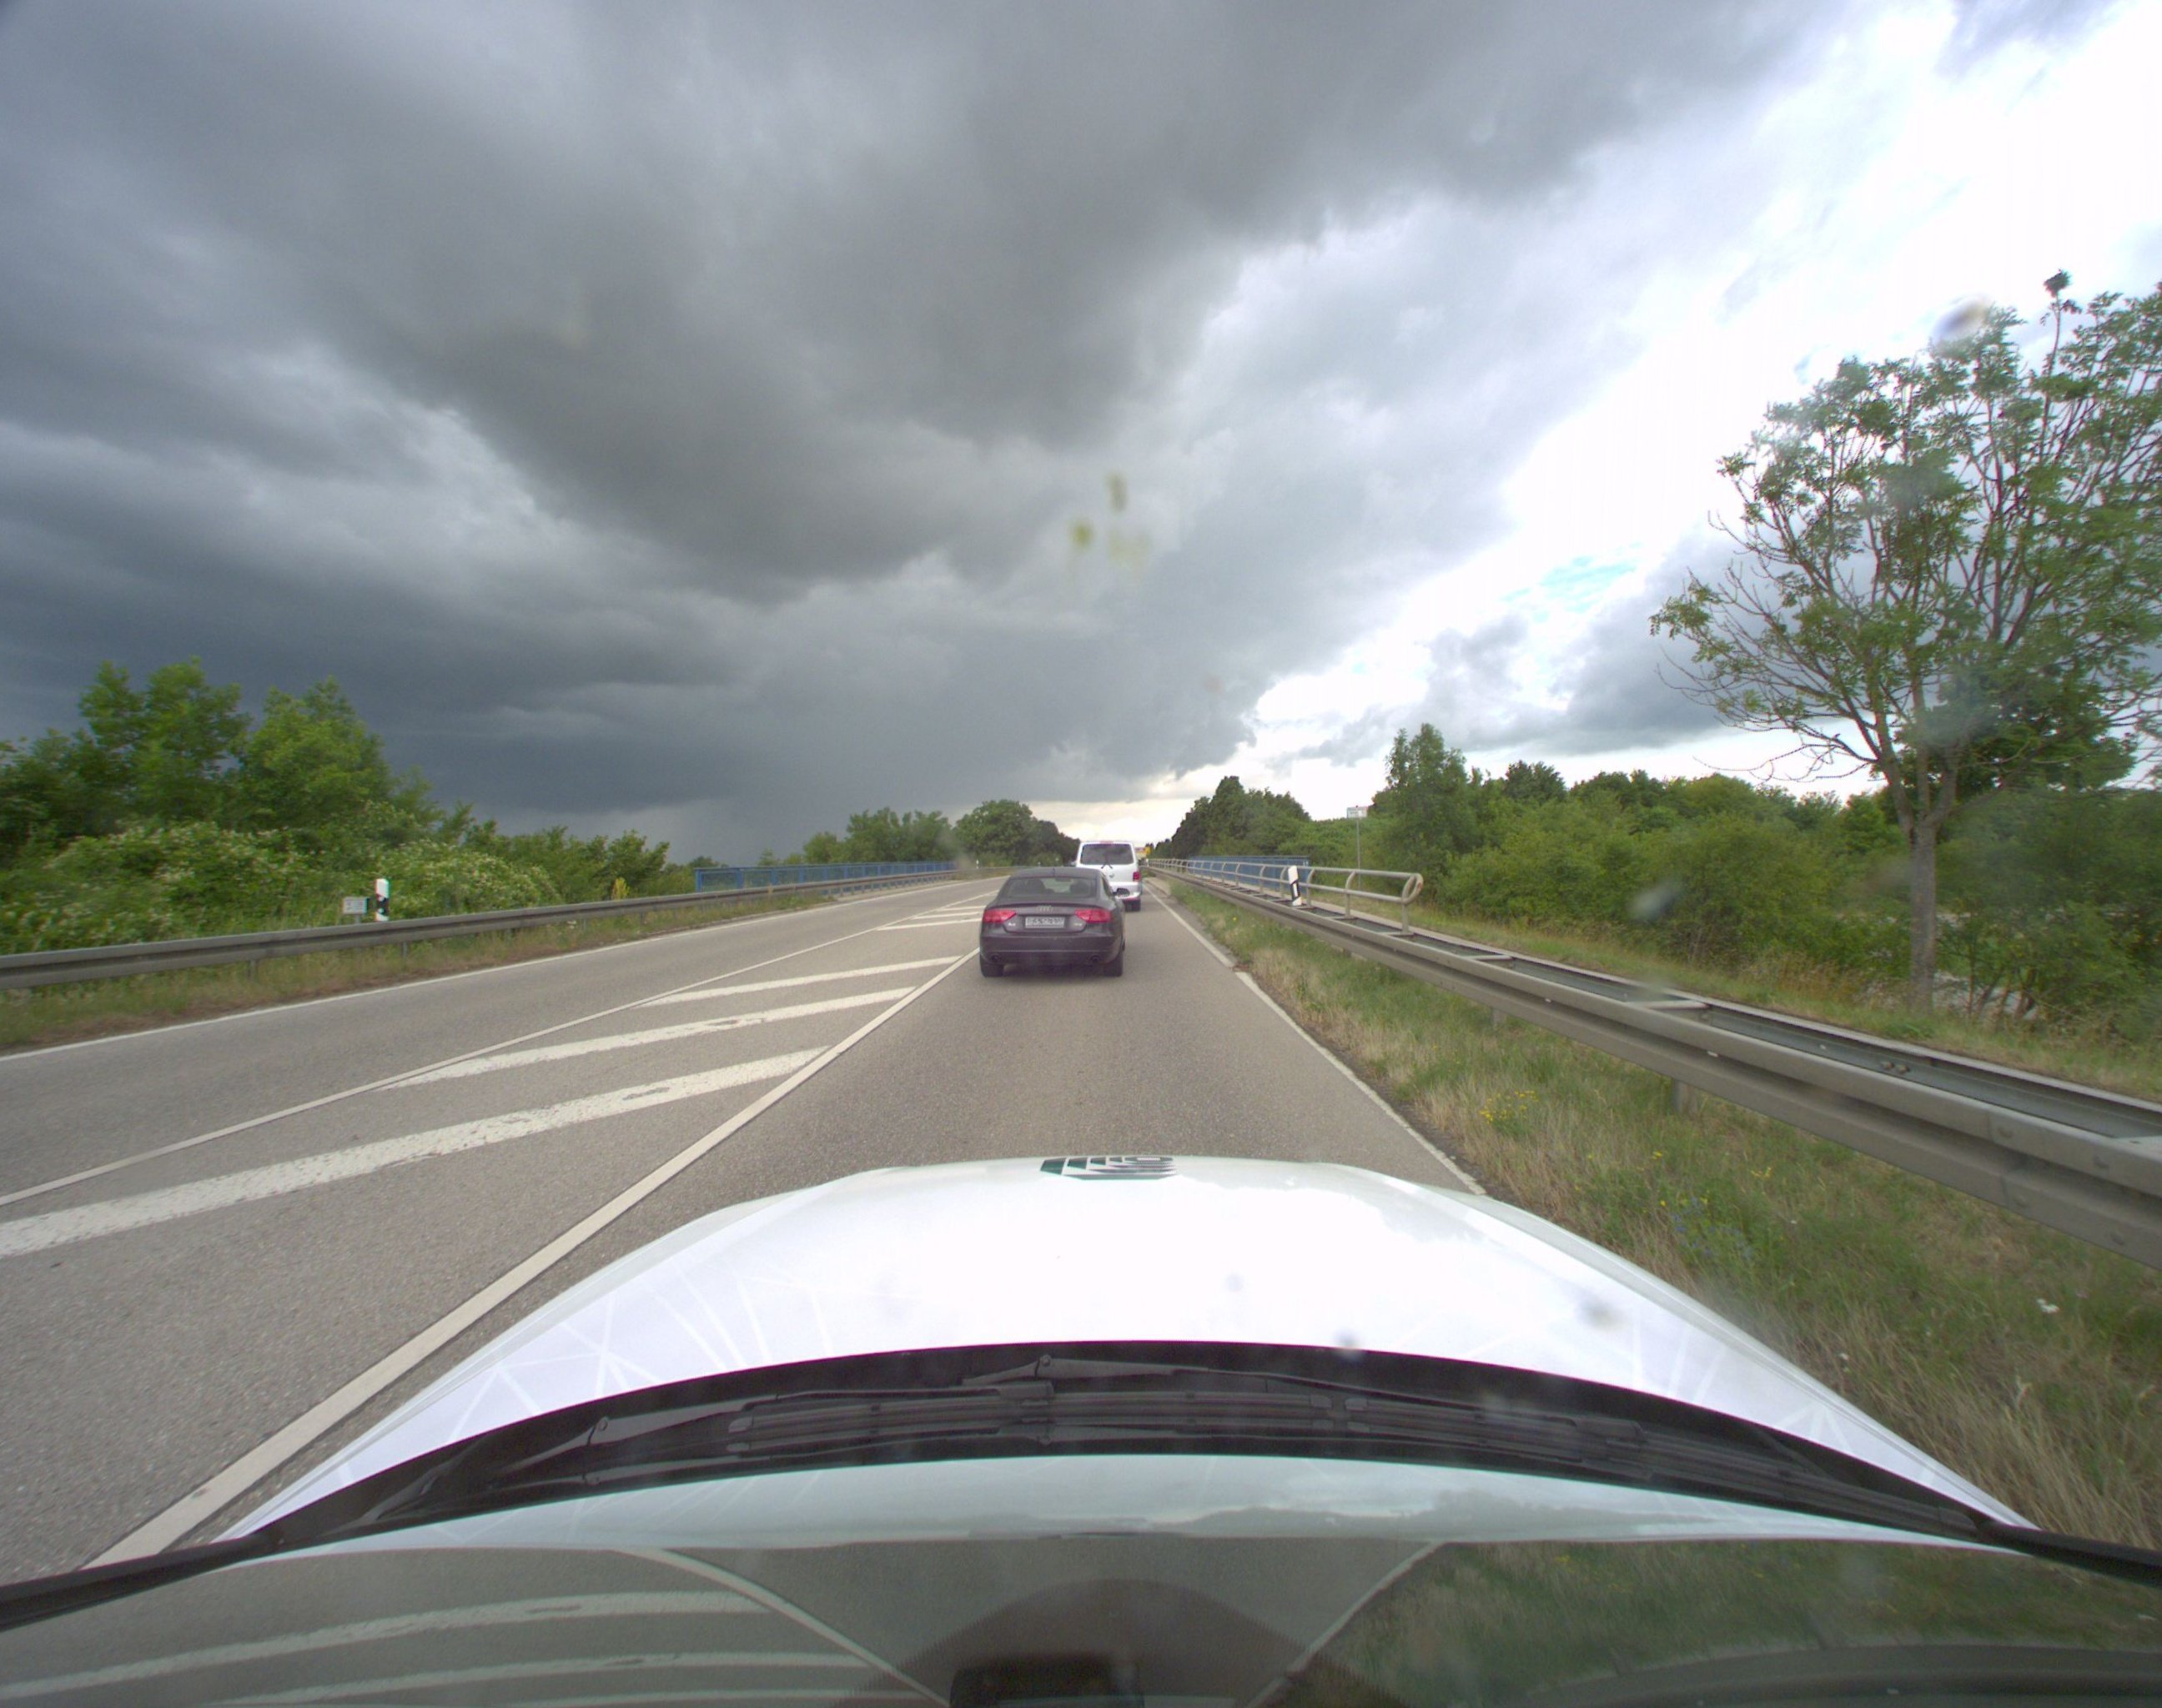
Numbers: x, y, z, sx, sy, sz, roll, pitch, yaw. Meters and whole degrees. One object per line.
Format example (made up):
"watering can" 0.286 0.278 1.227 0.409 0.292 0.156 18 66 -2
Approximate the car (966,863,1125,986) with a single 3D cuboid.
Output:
"car" -0.306 0.849 11.562 1.814 1.381 4.075 -1 -1 3

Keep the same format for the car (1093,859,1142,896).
"car" 1.517 0.909 33.179 1.814 1.381 4.075 -1 -1 3

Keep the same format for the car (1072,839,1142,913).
"car" 0.777 0.601 23.784 1.821 1.935 4.002 -1 -1 2
